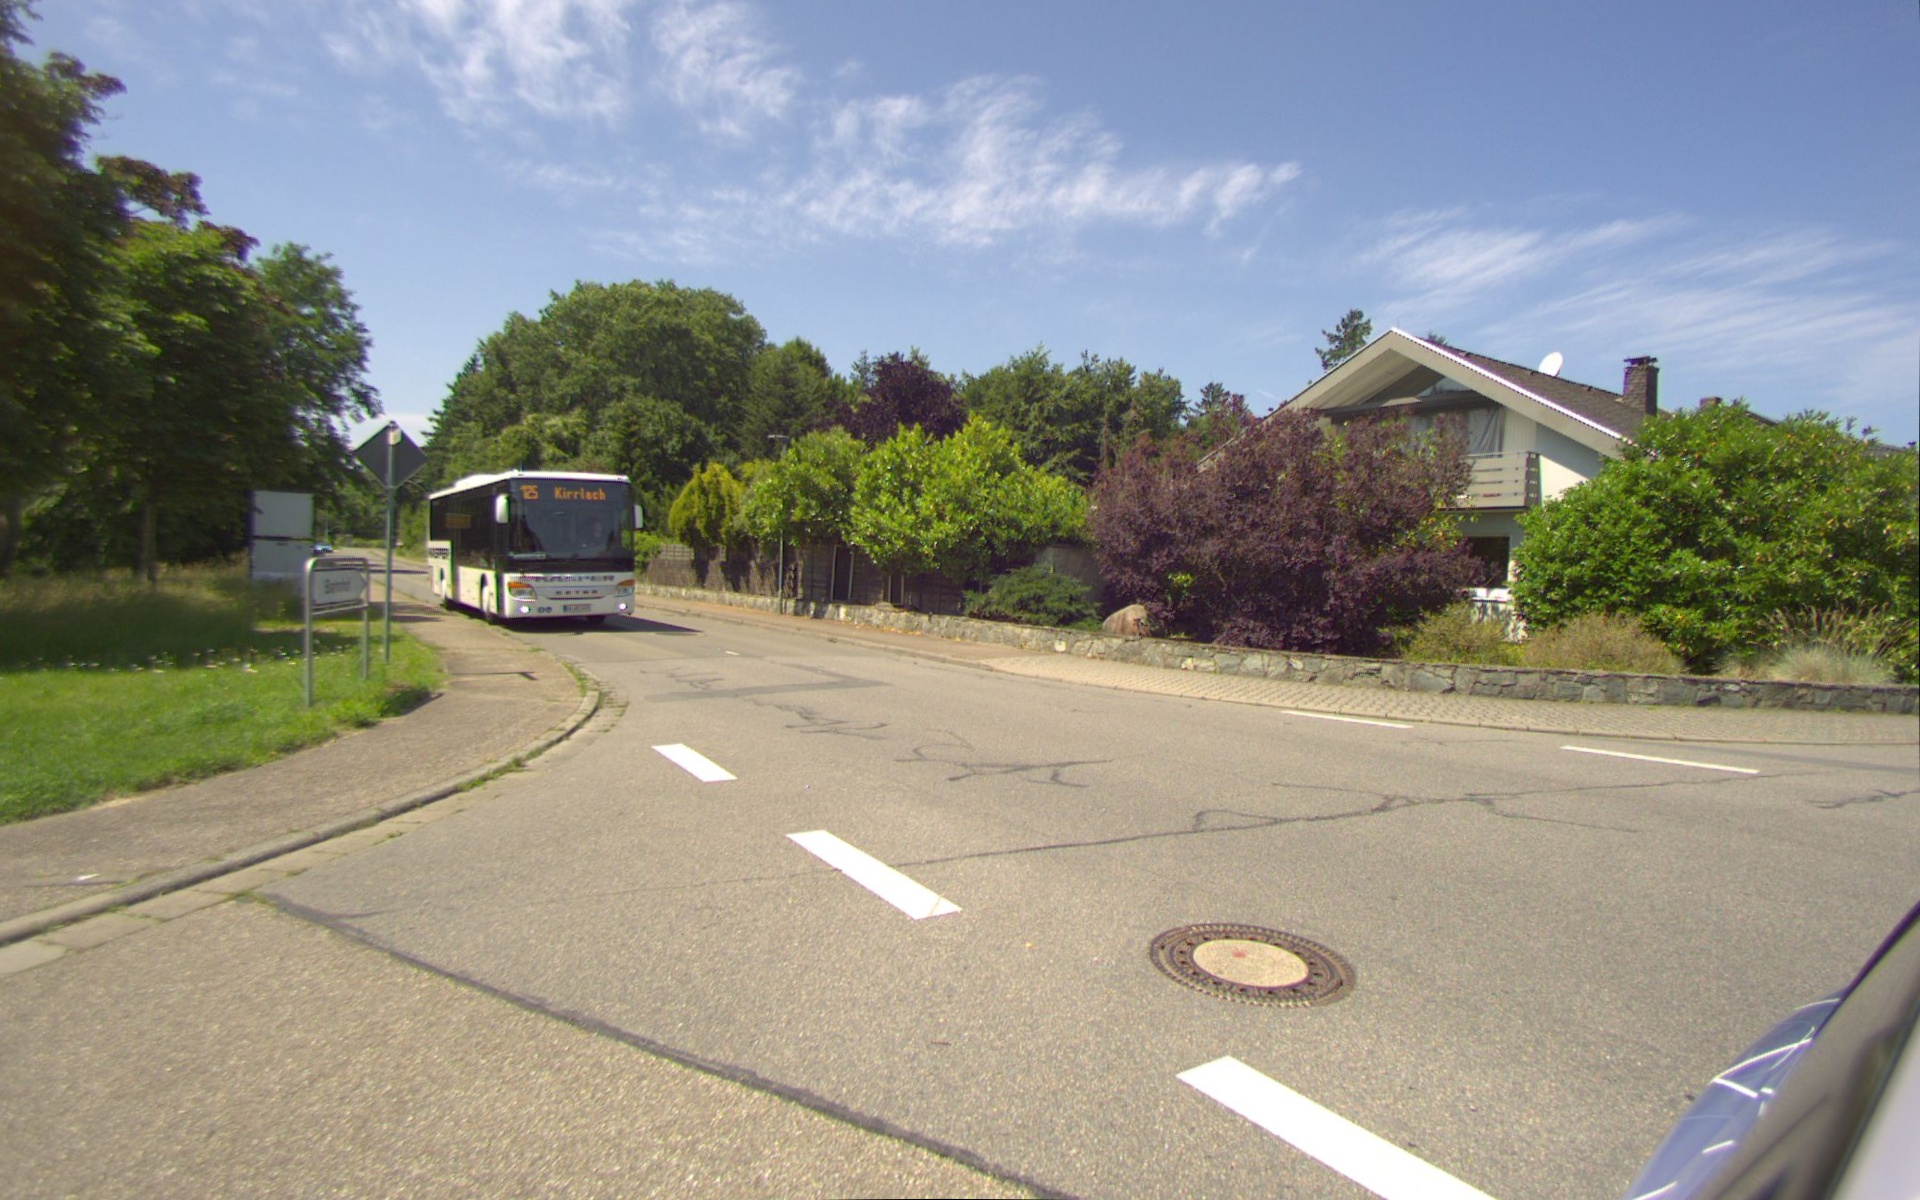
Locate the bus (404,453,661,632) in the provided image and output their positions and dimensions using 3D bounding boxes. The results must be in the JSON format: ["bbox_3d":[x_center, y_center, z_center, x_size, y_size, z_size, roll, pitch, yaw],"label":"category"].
[{"bbox_3d":[-10.992,-1.316,24.708,3.131,3.284,12.715,1,2,-35],"label":"bus"}]
